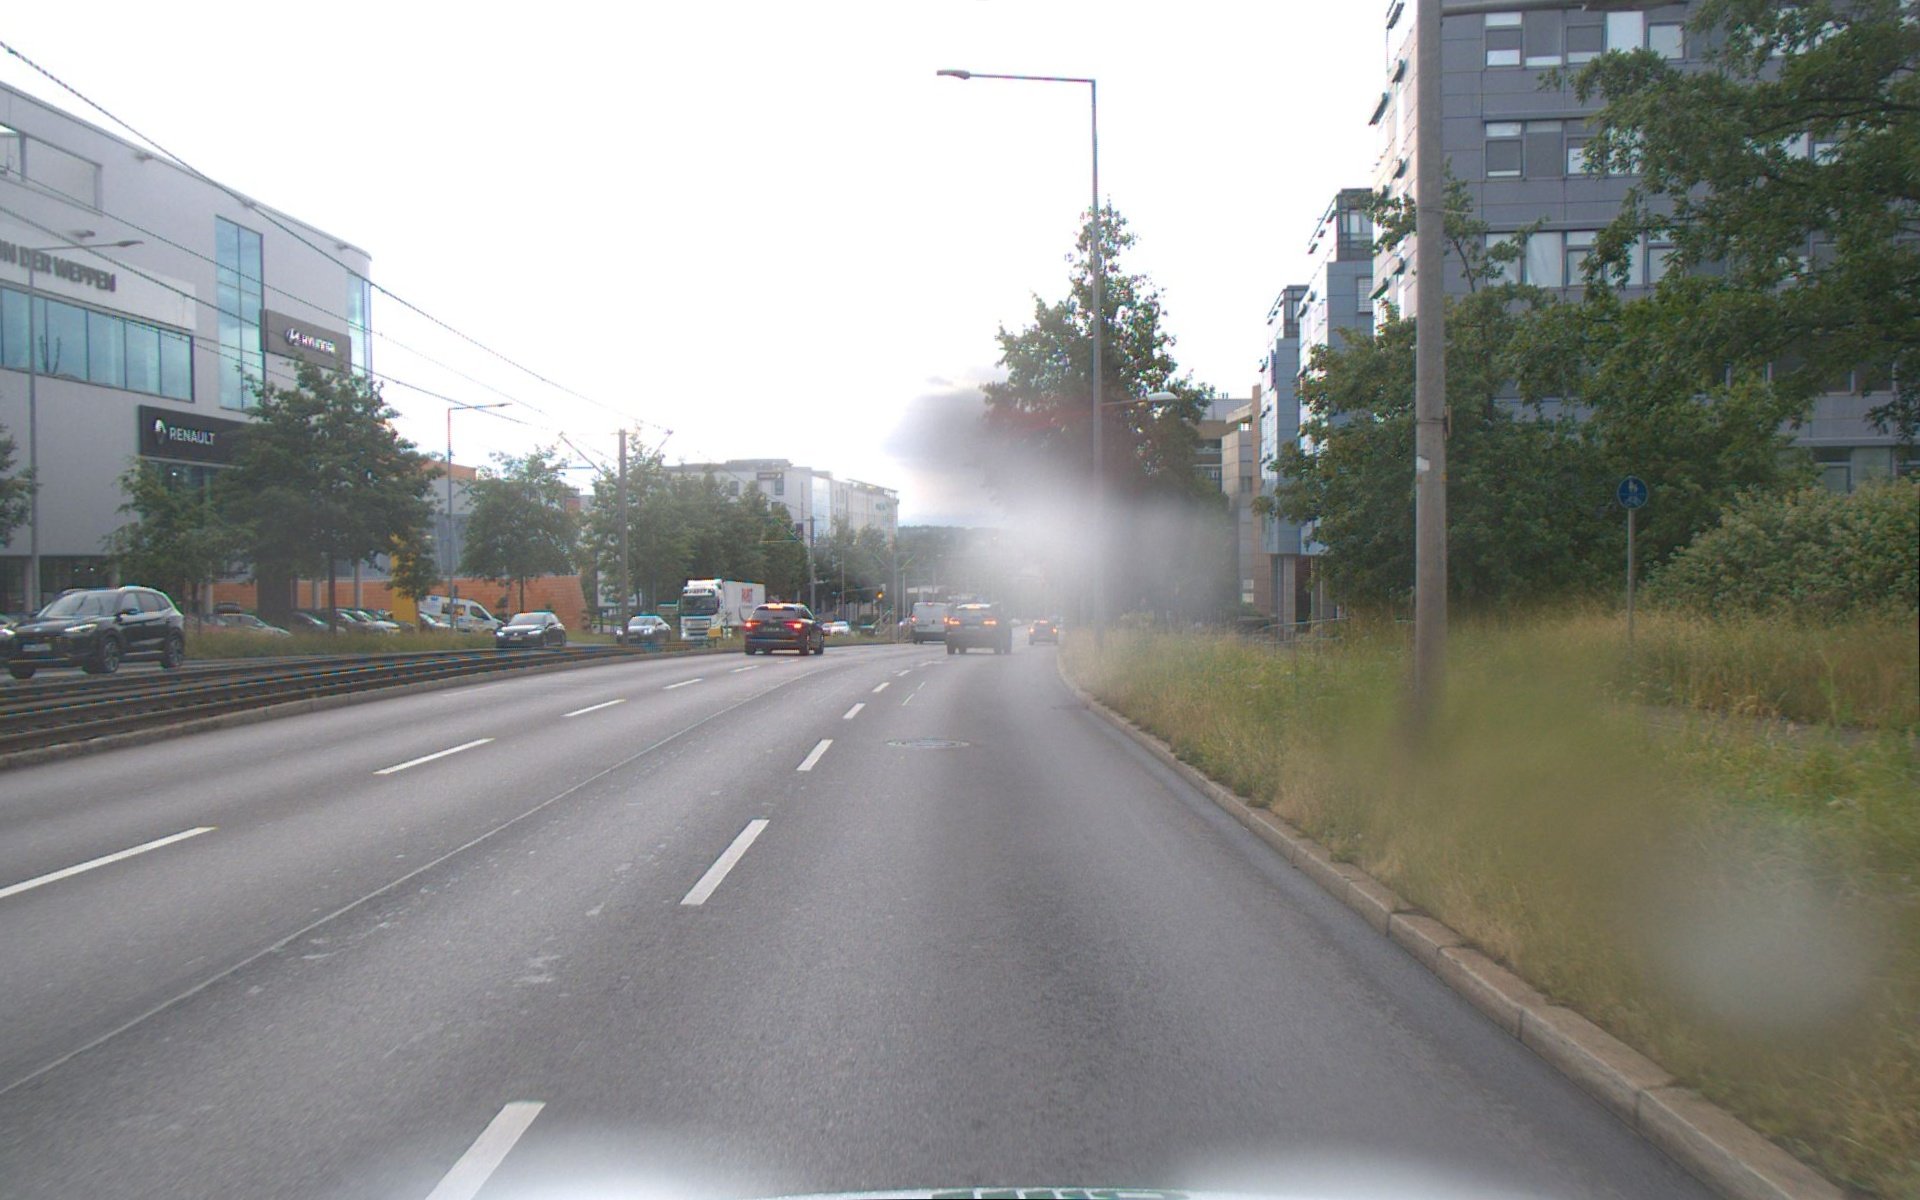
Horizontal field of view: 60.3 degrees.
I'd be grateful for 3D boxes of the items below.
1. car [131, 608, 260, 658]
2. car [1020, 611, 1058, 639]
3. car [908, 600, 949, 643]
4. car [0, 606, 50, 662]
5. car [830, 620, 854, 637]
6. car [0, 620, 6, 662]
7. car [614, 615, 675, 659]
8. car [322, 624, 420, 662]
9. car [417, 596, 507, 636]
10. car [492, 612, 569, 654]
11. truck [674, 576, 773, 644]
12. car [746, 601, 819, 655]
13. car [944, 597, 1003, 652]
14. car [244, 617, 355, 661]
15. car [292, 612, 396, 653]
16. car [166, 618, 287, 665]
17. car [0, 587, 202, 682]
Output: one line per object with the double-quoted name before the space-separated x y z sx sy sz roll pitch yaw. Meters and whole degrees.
"car" -31.386 1.361 68.040 4.528 2.011 2.010 0 -1 -17
"car" 4.716 1.491 99.096 1.754 1.619 3.996 -1 0 -4
"car" -1.776 1.196 93.755 2.222 2.325 4.758 1 0 -1
"car" -32.909 1.134 54.738 4.549 1.859 2.010 0 -1 -17
"car" -10.995 2.666 154.235 1.627 1.467 3.898 1 -1 5
"car" -32.028 1.278 51.049 4.266 1.330 1.858 0 -1 -25
"car" -15.180 1.782 79.792 1.972 2.011 4.616 1 -1 1
"car" -31.272 2.277 87.941 4.509 2.011 2.019 0 -1 -3
"car" -30.976 1.006 103.045 5.214 2.353 2.012 1 -2 -15
"car" -16.166 1.246 62.386 1.633 1.487 4.239 1 -1 2
"truck" -15.932 0.674 113.259 2.978 4.254 17.211 1 0 5
"car" -5.022 0.760 47.206 1.750 1.438 4.803 1 0 -3
"car" 0.466 0.779 56.023 1.883 1.740 4.098 1 0 1
"car" -31.593 1.864 79.196 4.509 2.011 2.019 0 -1 -3
"car" -31.264 1.634 84.028 4.509 2.011 2.019 0 -1 -3
"car" -32.409 1.812 73.190 4.519 2.011 2.014 0 -1 -11
"car" -16.320 0.658 31.332 1.768 1.645 4.386 1 -1 1
